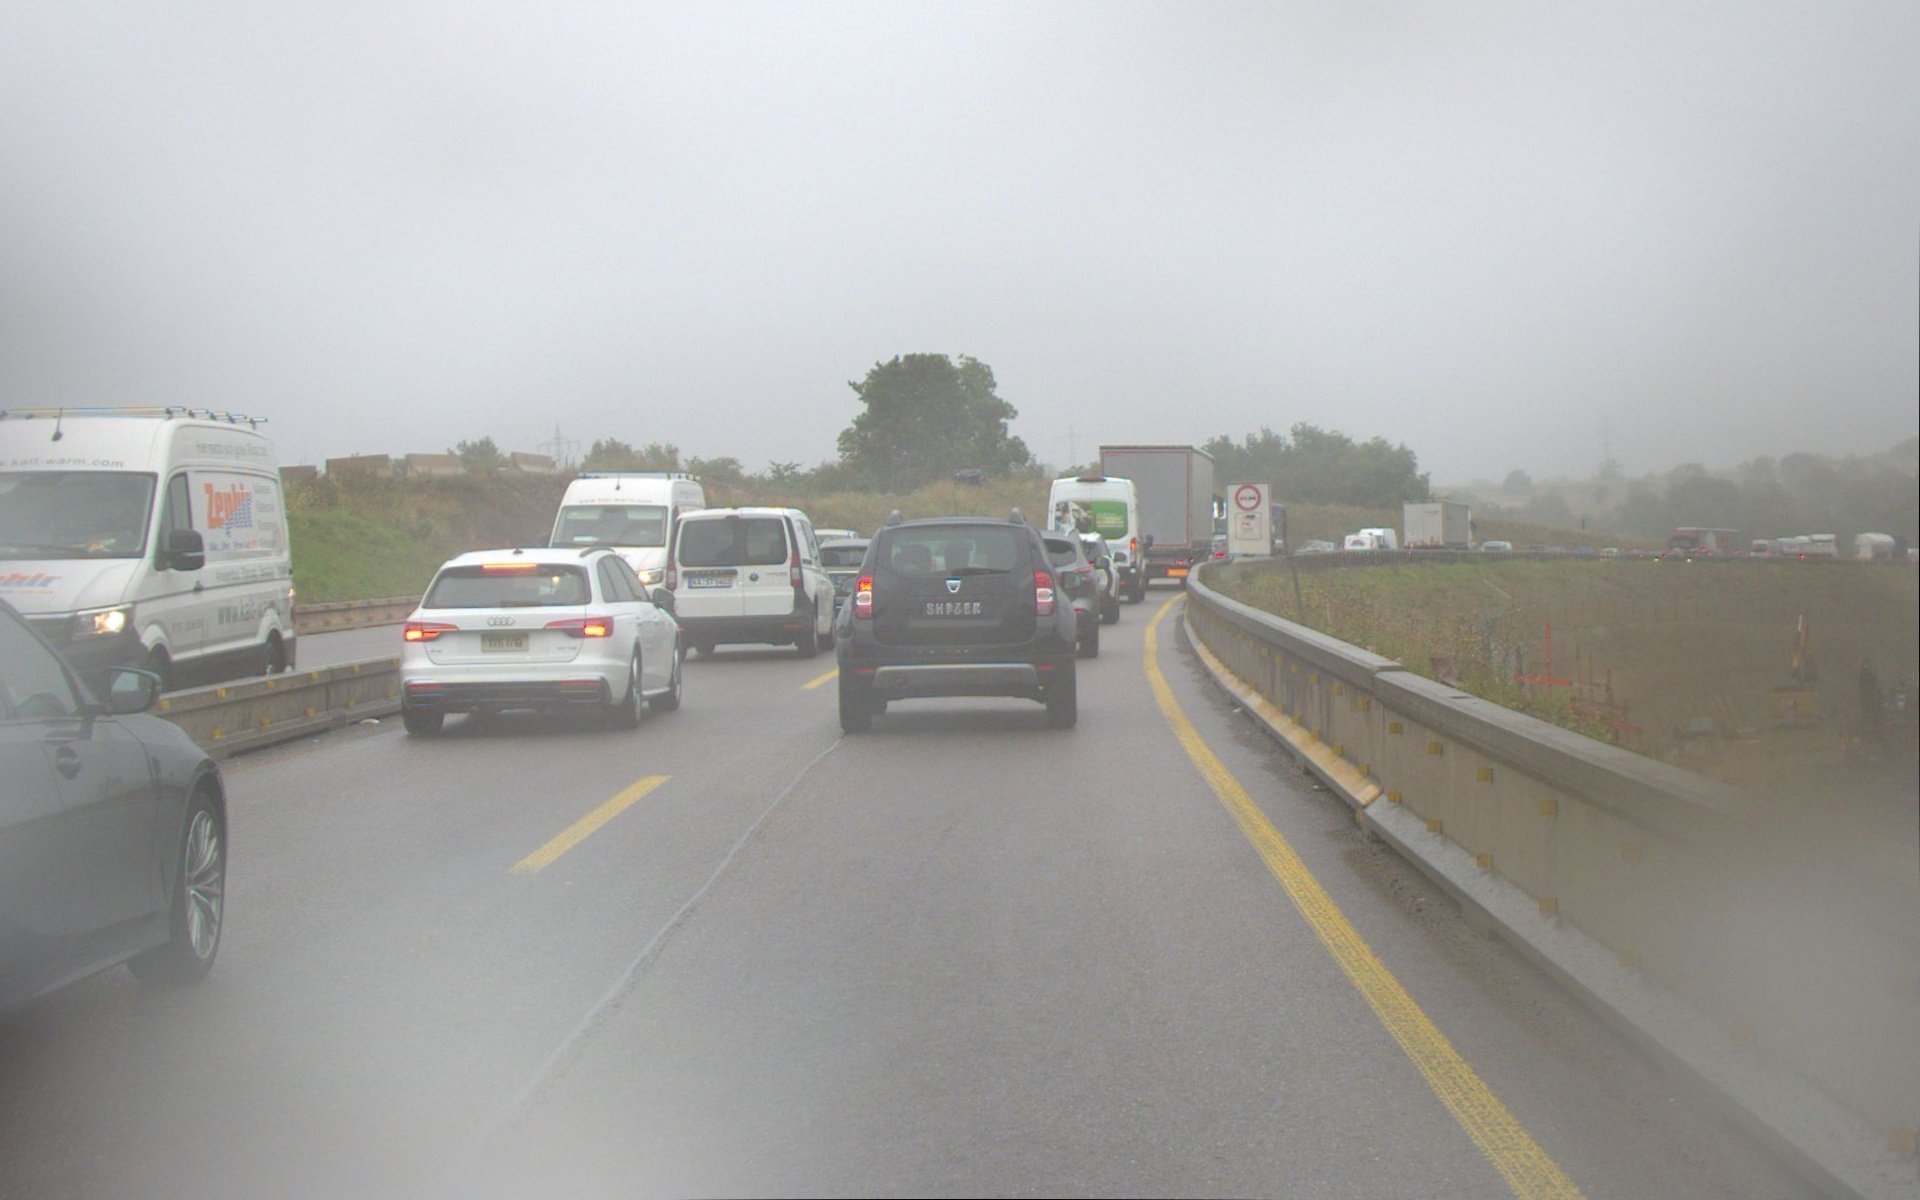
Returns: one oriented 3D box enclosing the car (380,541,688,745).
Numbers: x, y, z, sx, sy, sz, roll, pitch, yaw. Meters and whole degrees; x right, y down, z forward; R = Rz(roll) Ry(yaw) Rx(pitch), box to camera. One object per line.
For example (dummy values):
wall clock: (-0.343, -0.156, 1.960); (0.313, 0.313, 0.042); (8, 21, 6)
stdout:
car: (-3.303, 0.303, 27.369); (1.826, 1.494, 4.000); (0, 0, 2)

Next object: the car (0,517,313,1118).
car: (-3.333, 0.543, 10.220); (1.735, 1.457, 5.630); (0, 3, 0)

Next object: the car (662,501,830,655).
car: (-2.589, -0.271, 42.355); (1.826, 1.809, 4.000); (0, 0, 0)

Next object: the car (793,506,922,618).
car: (-1.681, -0.635, 57.691); (1.826, 1.809, 4.000); (0, 0, 3)

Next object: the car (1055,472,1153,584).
car: (3.240, -1.578, 76.508); (1.827, 2.429, 4.157); (0, 0, 7)

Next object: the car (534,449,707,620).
car: (-5.359, -1.068, 55.028); (2.024, 2.540, 5.958); (-1, 1, 1)

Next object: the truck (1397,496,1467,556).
truck: (30.344, -4.752, 220.647); (3.474, 3.702, 8.412); (-1, 1, 14)

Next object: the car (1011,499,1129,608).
car: (1.931, -0.796, 59.337); (1.826, 1.809, 3.999); (0, 0, 5)

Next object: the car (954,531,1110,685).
car: (0.927, 0.077, 42.476); (1.826, 1.809, 4.000); (0, 0, 2)

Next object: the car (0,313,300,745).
car: (-6.719, -0.562, 26.875); (1.993, 3.003, 5.780); (0, 1, 0)

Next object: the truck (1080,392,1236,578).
truck: (5.827, -3.175, 99.196); (3.545, 5.060, 10.438); (0, 0, 9)

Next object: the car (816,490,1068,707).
car: (-0.070, -0.024, 27.314); (1.826, 1.585, 4.000); (0, 0, 2)
